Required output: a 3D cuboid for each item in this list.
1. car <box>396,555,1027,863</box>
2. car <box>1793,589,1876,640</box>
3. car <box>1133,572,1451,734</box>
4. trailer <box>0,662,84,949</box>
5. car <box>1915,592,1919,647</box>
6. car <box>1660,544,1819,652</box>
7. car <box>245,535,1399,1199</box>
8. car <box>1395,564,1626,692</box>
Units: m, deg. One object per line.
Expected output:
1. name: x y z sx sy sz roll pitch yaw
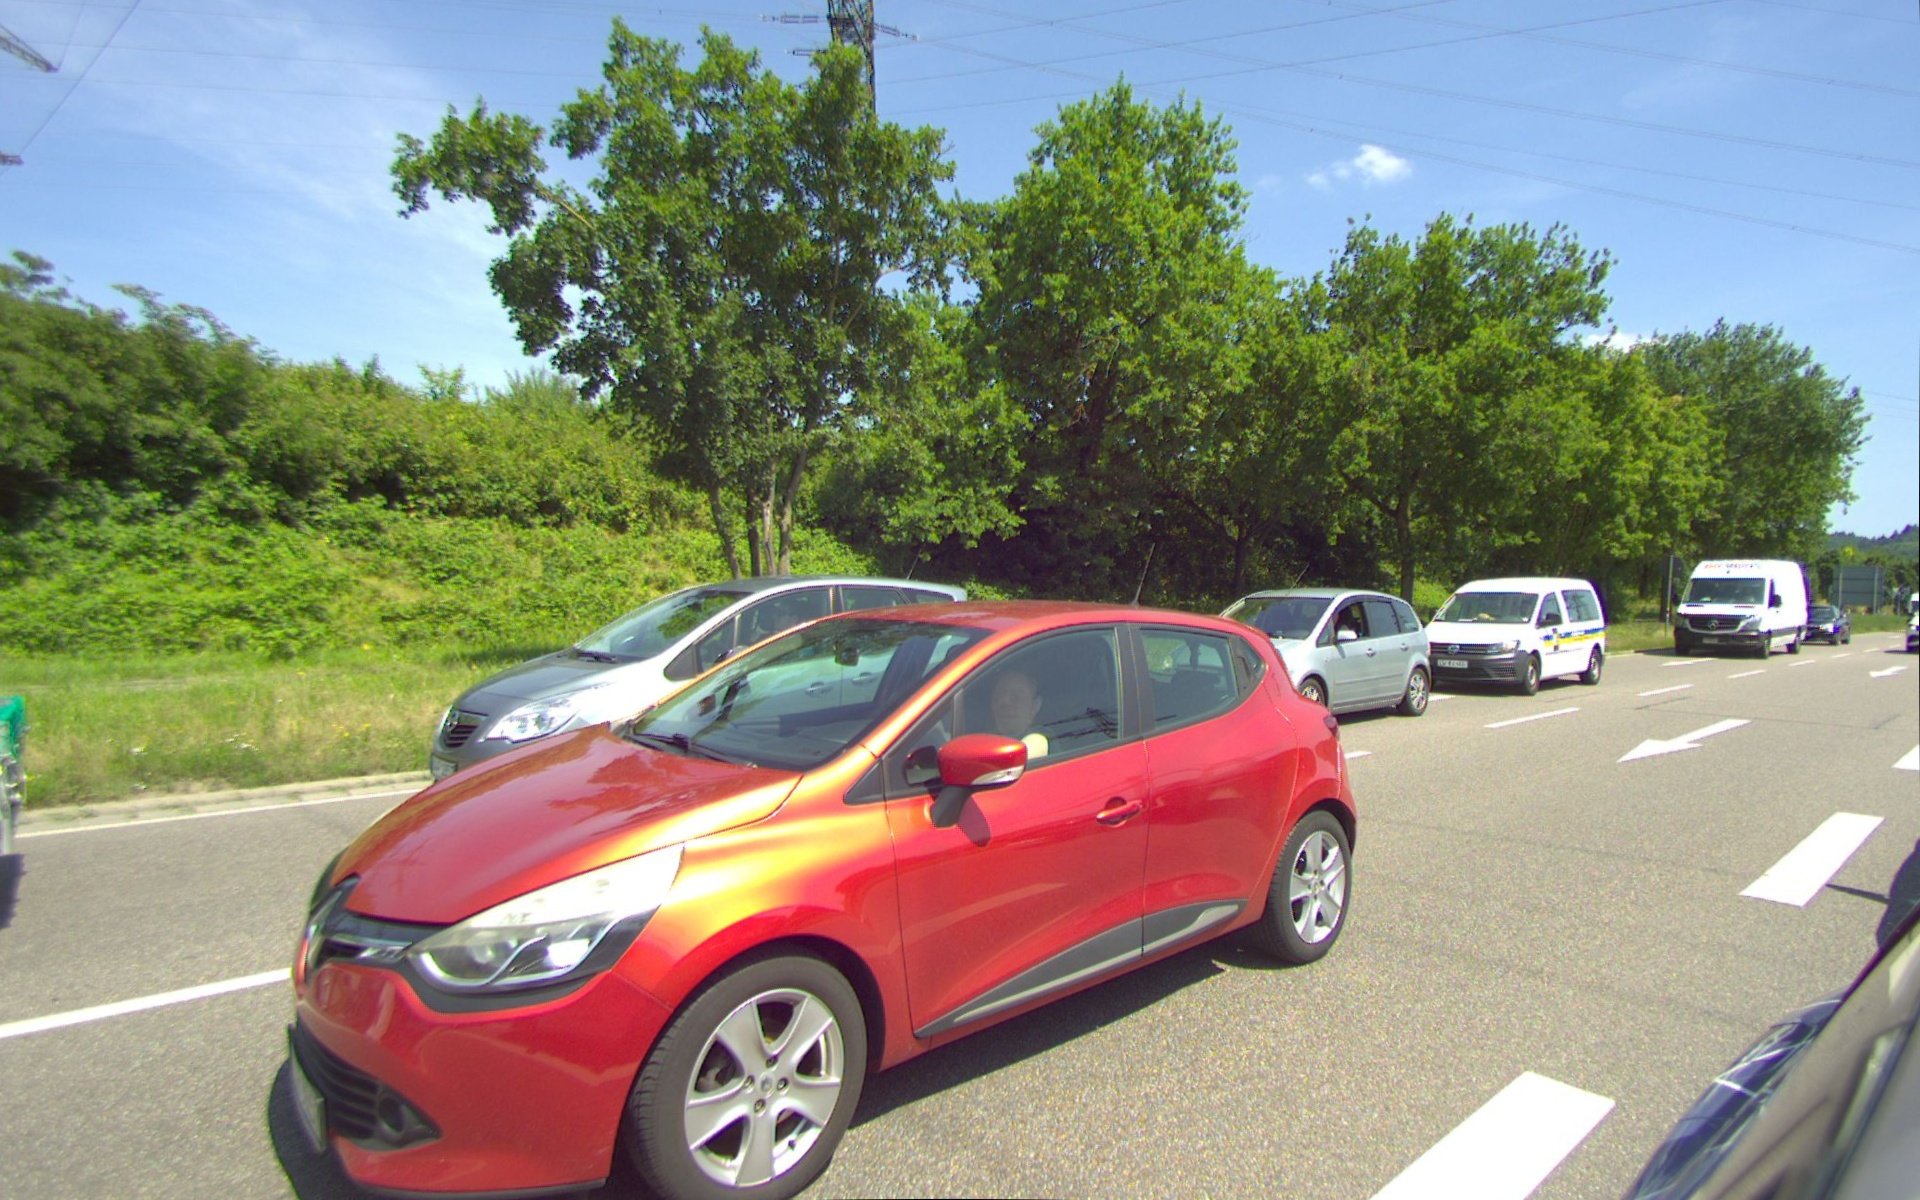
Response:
1. car: -1.594 0.553 7.336 4.092 1.615 1.768 0 1 -41
2. car: 31.455 0.461 36.355 3.933 1.705 1.875 -1 1 -43
3. car: 4.100 0.524 12.163 4.197 1.614 1.746 0 0 -41
4. trailer: -5.374 0.847 3.693 3.266 1.019 1.709 0 0 -41
5. car: 29.736 0.570 29.872 4.287 1.588 1.849 0 0 -41
6. car: 21.571 -0.047 27.868 6.897 2.640 2.230 0 0 -42
7. car: -0.139 0.619 3.784 3.994 1.480 1.746 0 0 -41
8. car: 9.246 0.397 16.799 4.950 1.823 1.807 0 0 -42
